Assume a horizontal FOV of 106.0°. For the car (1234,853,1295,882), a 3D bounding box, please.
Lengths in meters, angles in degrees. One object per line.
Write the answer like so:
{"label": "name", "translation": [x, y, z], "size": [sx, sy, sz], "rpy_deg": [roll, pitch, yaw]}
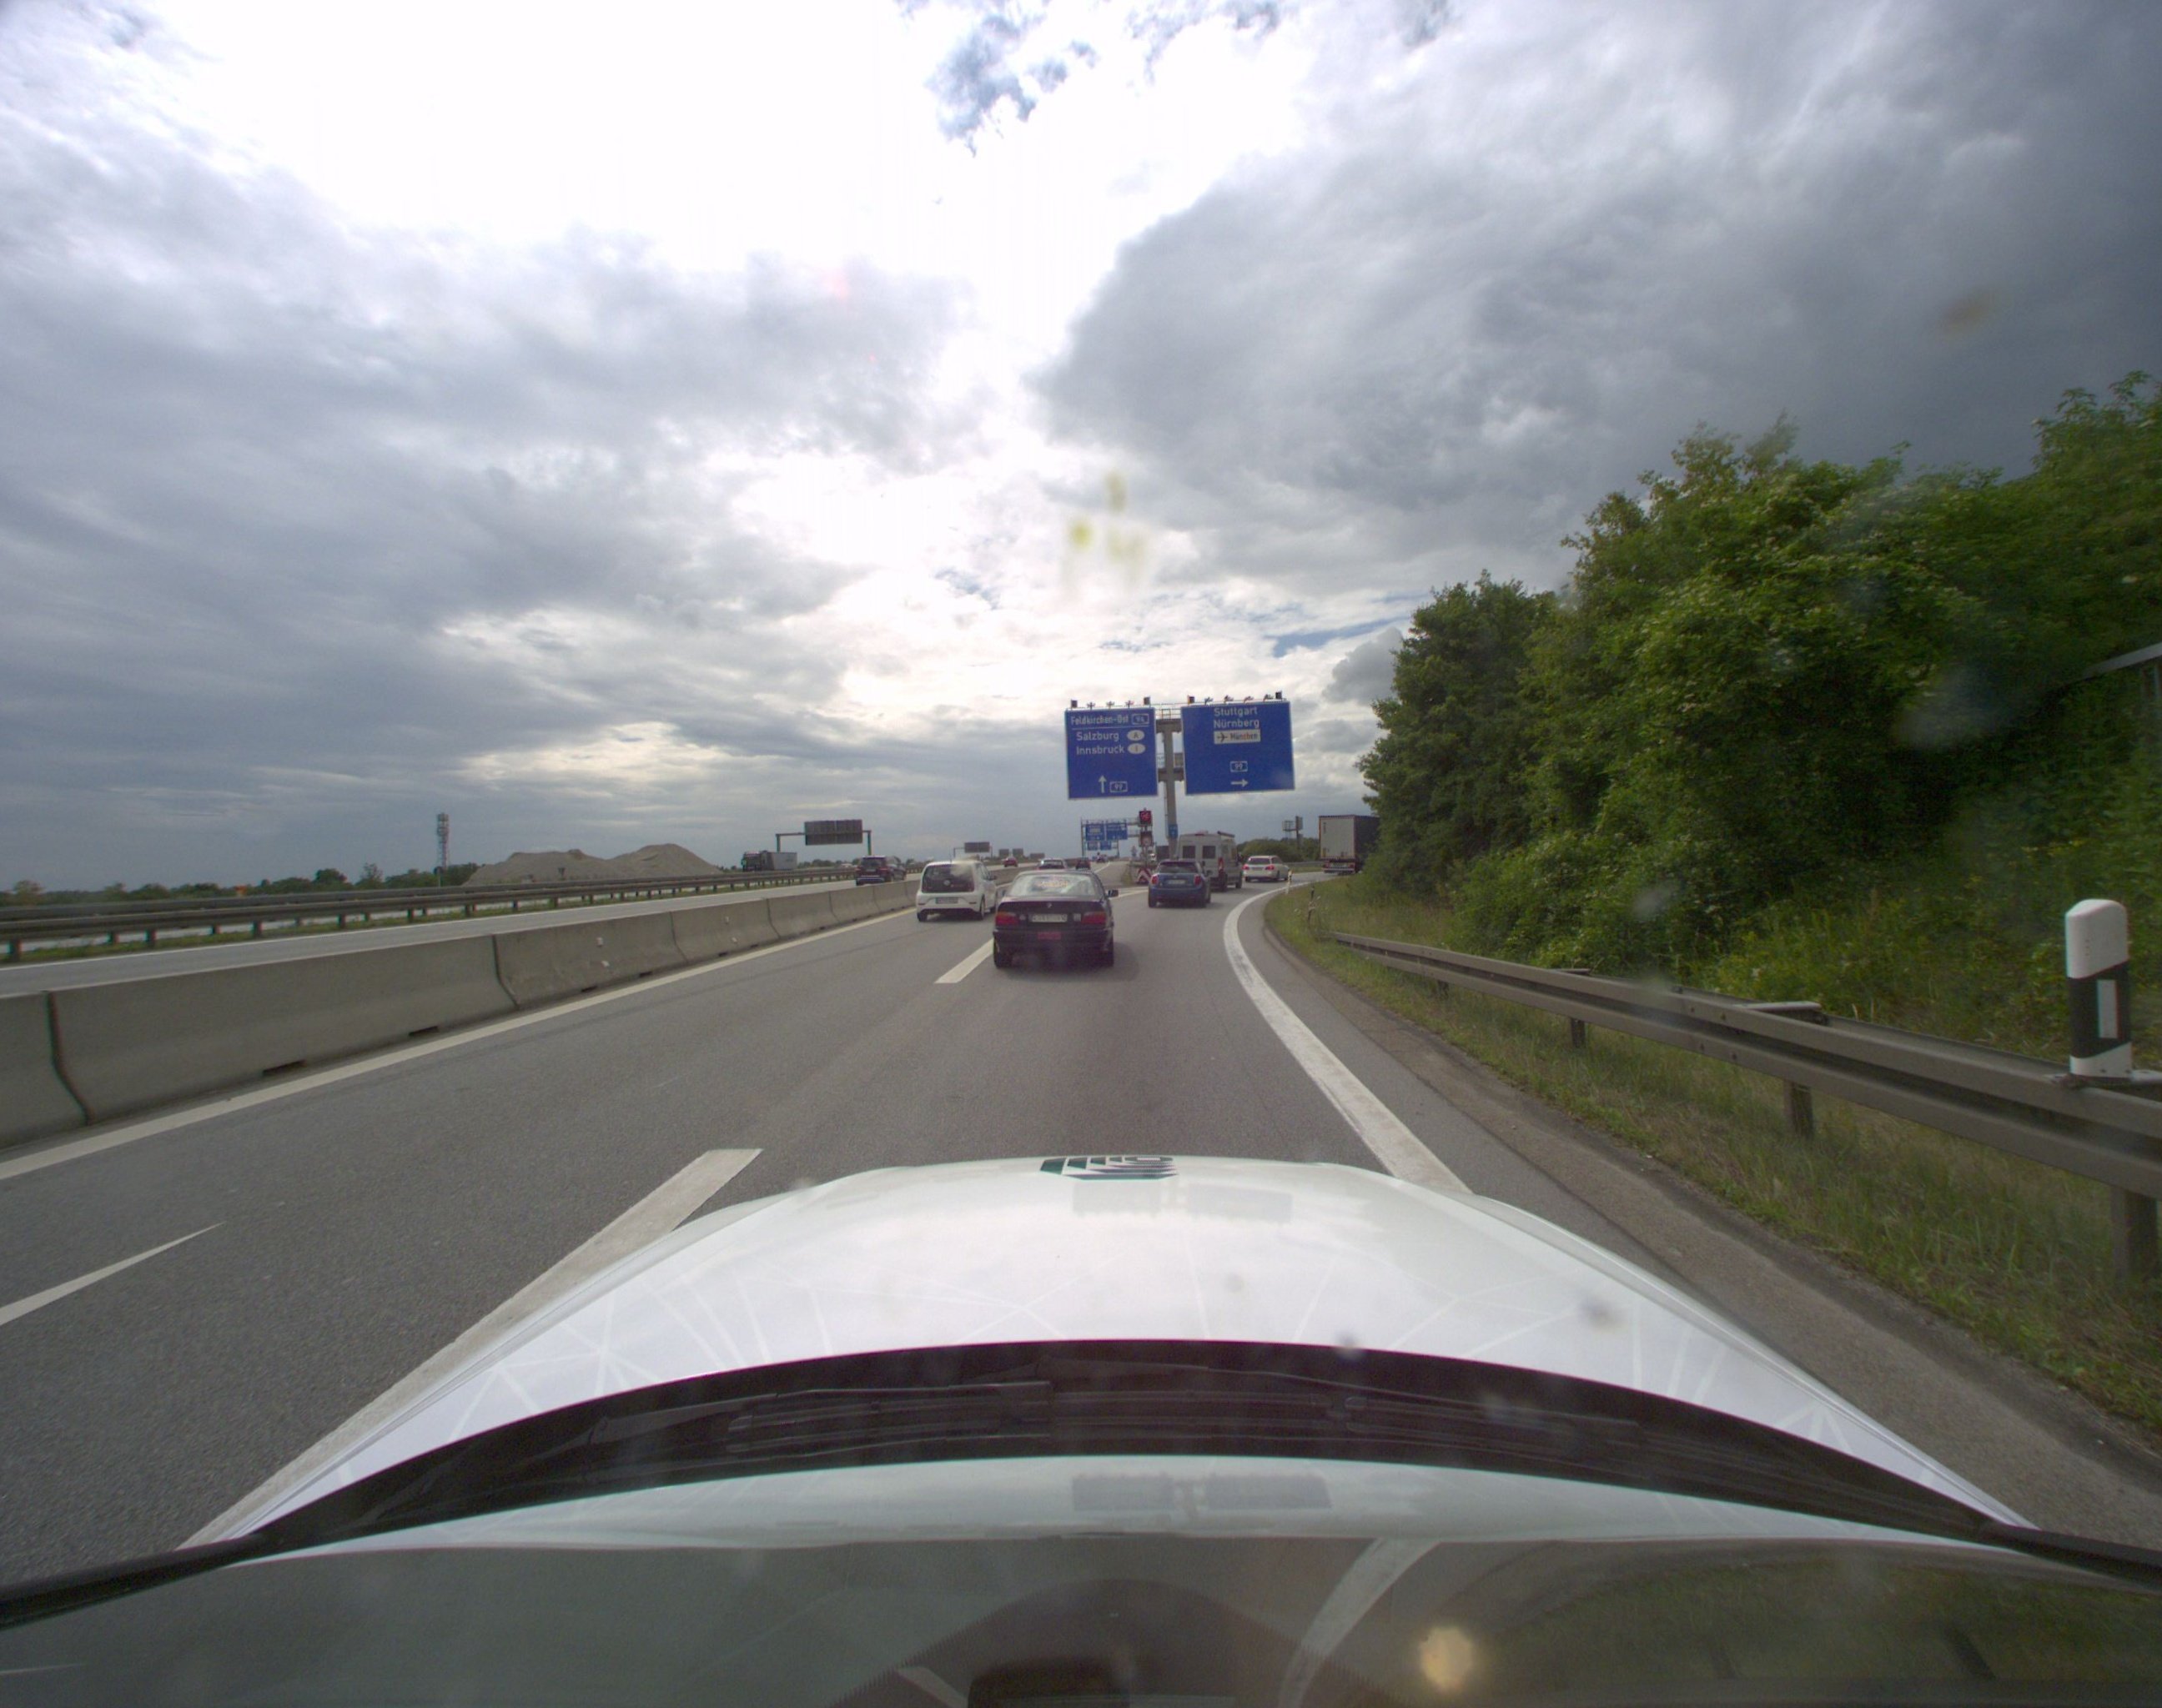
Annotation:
{"label": "car", "translation": [10.559, 0.749, 46.584], "size": [2.185, 1.501, 4.816], "rpy_deg": [-2, -1, 27]}

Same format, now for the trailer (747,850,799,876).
{"label": "trailer", "translation": [-40.858, 1.165, 108.384], "size": [3.187, 3.269, 9.821], "rpy_deg": [-1, 0, 0]}

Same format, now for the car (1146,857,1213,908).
{"label": "car", "translation": [3.136, 0.836, 25.402], "size": [1.717, 1.419, 3.678], "rpy_deg": [-1, 0, 12]}

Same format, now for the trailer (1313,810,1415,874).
{"label": "trailer", "translation": [20.972, -0.785, 59.581], "size": [3.298, 4.193, 13.115], "rpy_deg": [-1, 0, 36]}

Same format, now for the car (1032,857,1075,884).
{"label": "car", "translation": [-1.542, 0.912, 47.432], "size": [1.984, 1.468, 4.006], "rpy_deg": [-1, 0, 5]}

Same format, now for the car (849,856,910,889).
{"label": "car", "translation": [-11.112, 0.996, 45.286], "size": [1.986, 1.683, 4.868], "rpy_deg": [-1, 0, 2]}

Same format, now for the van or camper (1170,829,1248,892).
{"label": "van or camper", "translation": [5.903, 0.281, 36.850], "size": [2.274, 2.568, 6.191], "rpy_deg": [-2, 0, 20]}

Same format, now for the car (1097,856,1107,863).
{"label": "car", "translation": [4.032, 1.103, 159.348], "size": [1.795, 1.424, 4.004], "rpy_deg": [-1, 0, 3]}

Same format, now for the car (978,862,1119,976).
{"label": "car", "translation": [-0.333, 0.858, 12.484], "size": [1.775, 1.378, 4.139], "rpy_deg": [-1, 0, 2]}

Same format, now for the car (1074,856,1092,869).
{"label": "car", "translation": [0.246, 0.960, 92.459], "size": [1.859, 1.424, 4.002], "rpy_deg": [-1, 0, 2]}

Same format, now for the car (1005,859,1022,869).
{"label": "car", "translation": [-10.161, 1.473, 123.521], "size": [1.985, 1.468, 4.003], "rpy_deg": [-1, 0, 3]}

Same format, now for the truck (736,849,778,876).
{"label": "truck", "translation": [-40.813, 1.063, 102.751], "size": [3.140, 3.330, 5.620], "rpy_deg": [-1, 0, -1]}

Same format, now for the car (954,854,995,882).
{"label": "car", "translation": [-6.869, 0.874, 53.062], "size": [1.986, 1.706, 4.002], "rpy_deg": [-1, 0, 2]}

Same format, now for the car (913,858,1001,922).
{"label": "car", "translation": [-3.121, 0.863, 21.178], "size": [1.579, 1.484, 3.537], "rpy_deg": [-1, 0, 2]}

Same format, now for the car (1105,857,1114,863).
{"label": "car", "translation": [6.412, 1.369, 182.177], "size": [1.795, 1.424, 4.004], "rpy_deg": [-1, 0, 3]}
